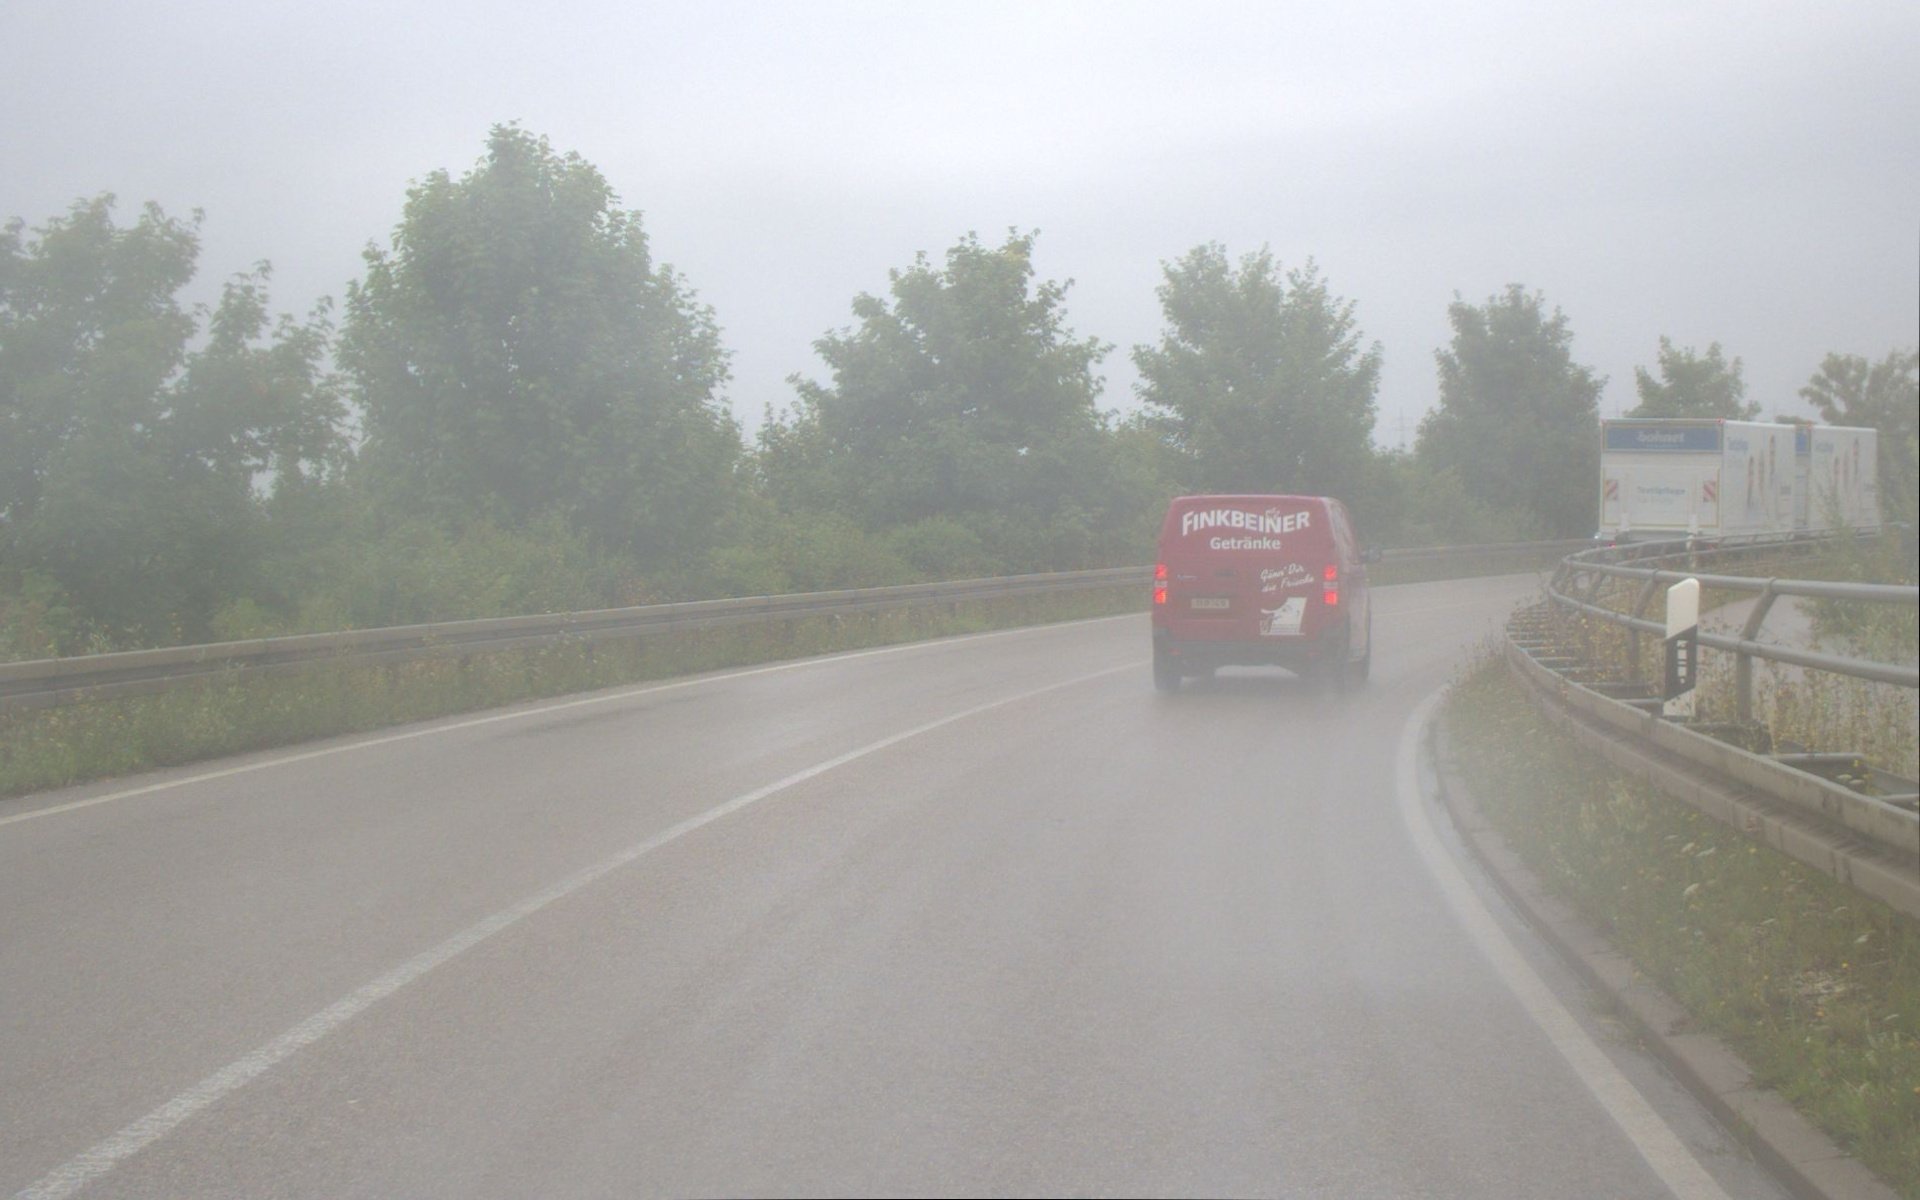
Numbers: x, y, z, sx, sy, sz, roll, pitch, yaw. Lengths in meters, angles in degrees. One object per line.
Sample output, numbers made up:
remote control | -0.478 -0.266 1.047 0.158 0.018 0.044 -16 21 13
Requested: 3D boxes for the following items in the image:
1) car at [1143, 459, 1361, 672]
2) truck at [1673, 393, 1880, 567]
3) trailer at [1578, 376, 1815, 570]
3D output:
car | 2.967 -0.404 34.205 1.994 1.919 4.143 -1 3 7
truck | 19.520 -2.781 81.775 3.205 3.908 8.728 1 1 24
trailer | 15.924 -2.647 73.803 3.205 3.908 8.728 1 1 24
